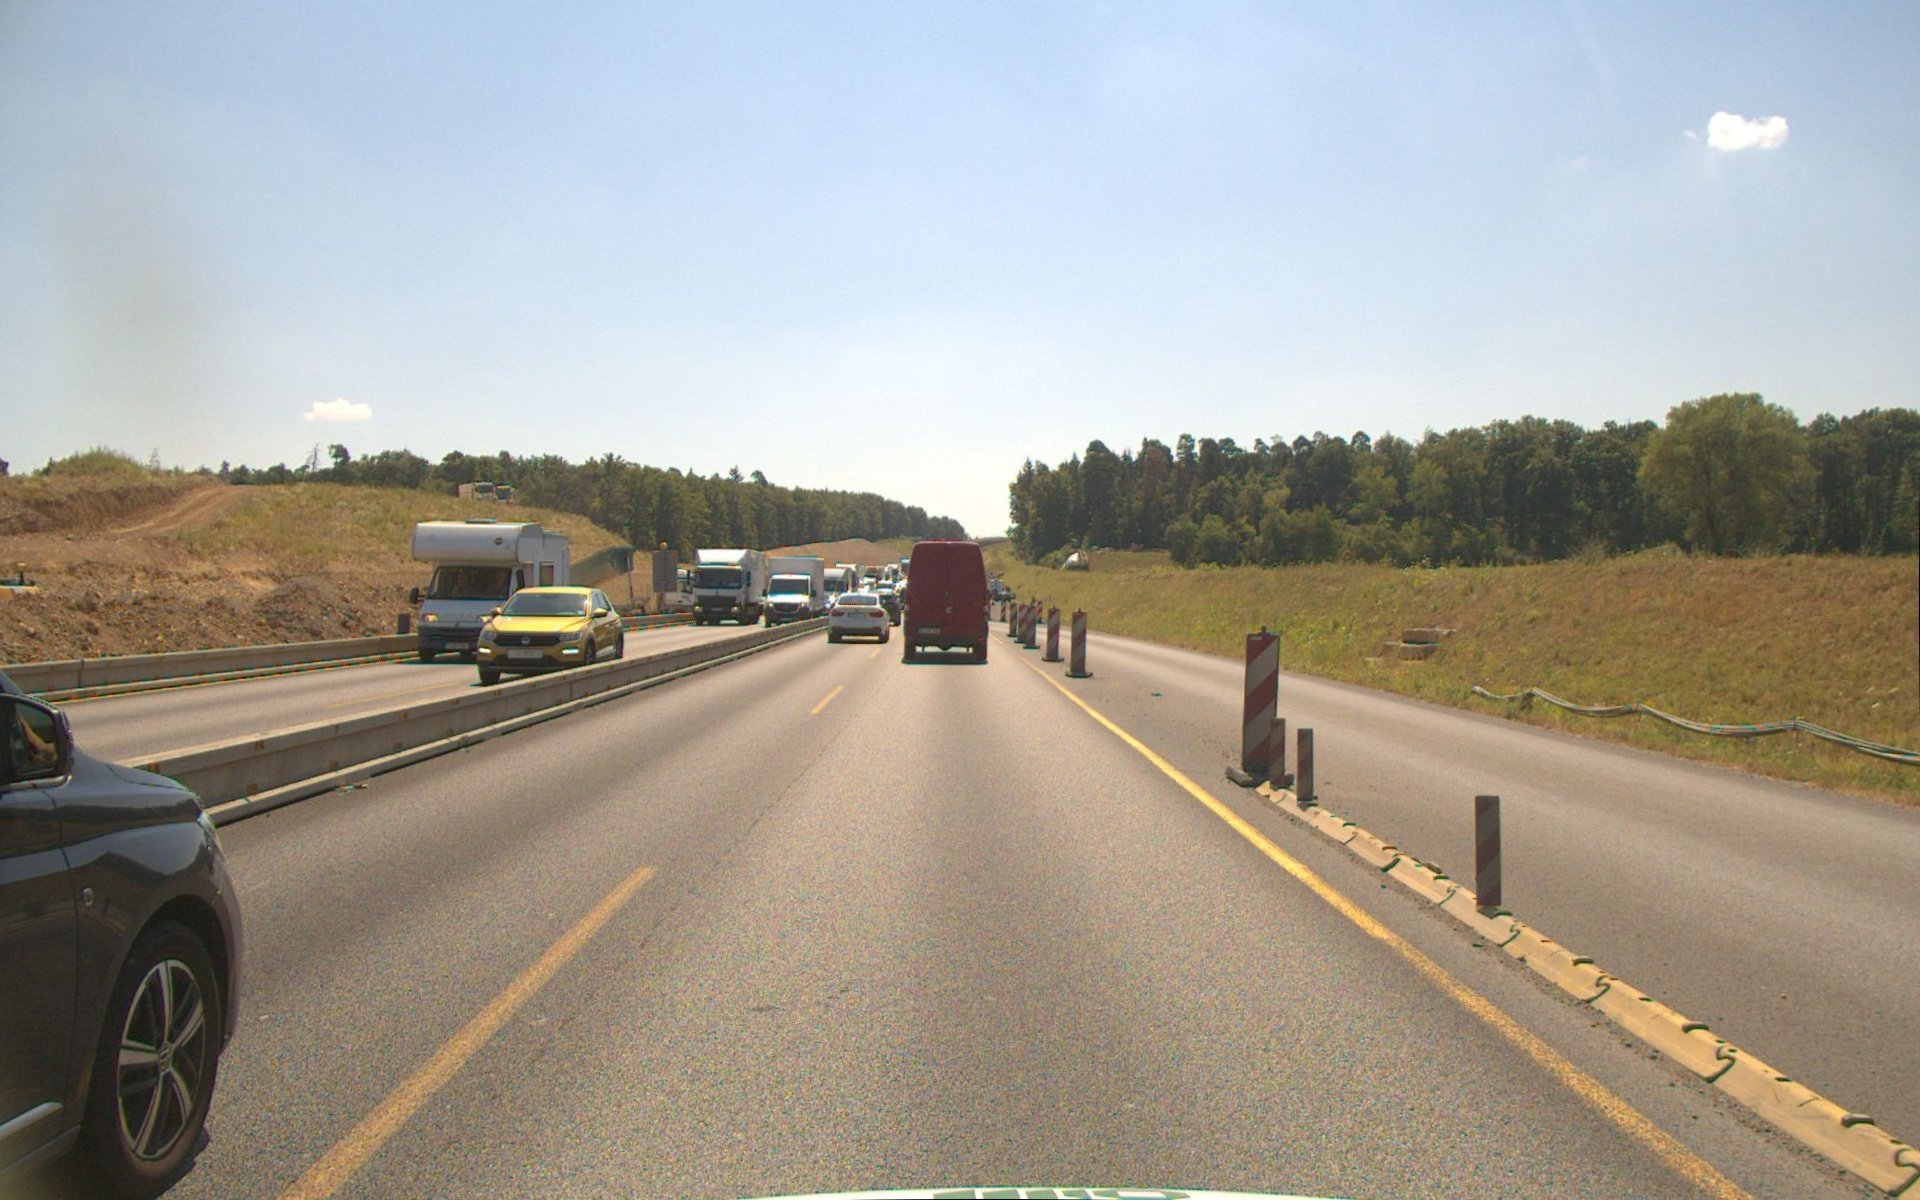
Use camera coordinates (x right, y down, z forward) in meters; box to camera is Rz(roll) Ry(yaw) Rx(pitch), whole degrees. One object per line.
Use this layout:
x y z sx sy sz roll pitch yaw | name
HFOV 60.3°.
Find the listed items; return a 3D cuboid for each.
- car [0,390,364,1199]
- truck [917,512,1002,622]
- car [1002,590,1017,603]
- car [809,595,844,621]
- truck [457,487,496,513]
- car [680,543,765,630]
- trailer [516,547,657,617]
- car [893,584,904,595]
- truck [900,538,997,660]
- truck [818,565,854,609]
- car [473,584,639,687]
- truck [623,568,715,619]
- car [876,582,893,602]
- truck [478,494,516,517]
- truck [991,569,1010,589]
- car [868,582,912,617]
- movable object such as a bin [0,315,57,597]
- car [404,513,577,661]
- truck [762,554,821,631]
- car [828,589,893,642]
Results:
-2.699 0.516 2.749 1.716 1.856 4.782 1 1 -1 | car
-0.107 -1.674 93.988 4.311 5.592 16.600 1 0 -1 | truck
6.051 -0.401 201.484 1.620 1.451 4.545 -2 1 0 | car
-7.997 0.458 99.121 1.752 1.508 4.560 1 0 -1 | car
-65.074 -13.444 222.541 2.335 2.949 8.261 1 0 -36 | truck
-10.993 -0.648 77.342 2.849 3.805 8.089 1 1 -1 | car
-23.103 -1.132 102.382 8.167 4.170 2.801 1 0 18 | trailer
-9.235 -1.584 248.767 1.654 1.642 4.592 1 0 -1 | car
-0.284 -0.021 39.079 2.109 2.635 5.332 1 0 -1 | truck
-11.198 -1.104 149.937 2.591 3.781 9.480 1 0 -1 | truck
-6.794 0.543 28.244 1.725 1.601 4.362 1 0 0 | car
-18.036 -0.377 102.640 5.011 3.016 2.551 2 -1 -39 | truck
-9.228 -0.969 201.883 1.953 2.332 5.342 1 1 -2 | car
-64.683 -13.156 230.865 2.277 2.797 8.793 1 0 -36 | truck
5.387 -2.772 219.437 2.084 2.499 5.930 1 1 6 | truck
-3.258 -0.039 77.481 1.927 1.568 4.311 1 1 -1 | car
-32.511 -3.687 41.205 17.851 6.891 3.387 1 0 -1 | movable object such as a bin
-10.318 -0.262 36.906 2.205 3.007 5.847 1 0 -1 | car
-7.419 -0.310 73.621 2.226 3.205 7.308 1 0 -3 | truck
-3.045 0.454 51.100 1.794 1.548 3.960 1 0 -1 | car
